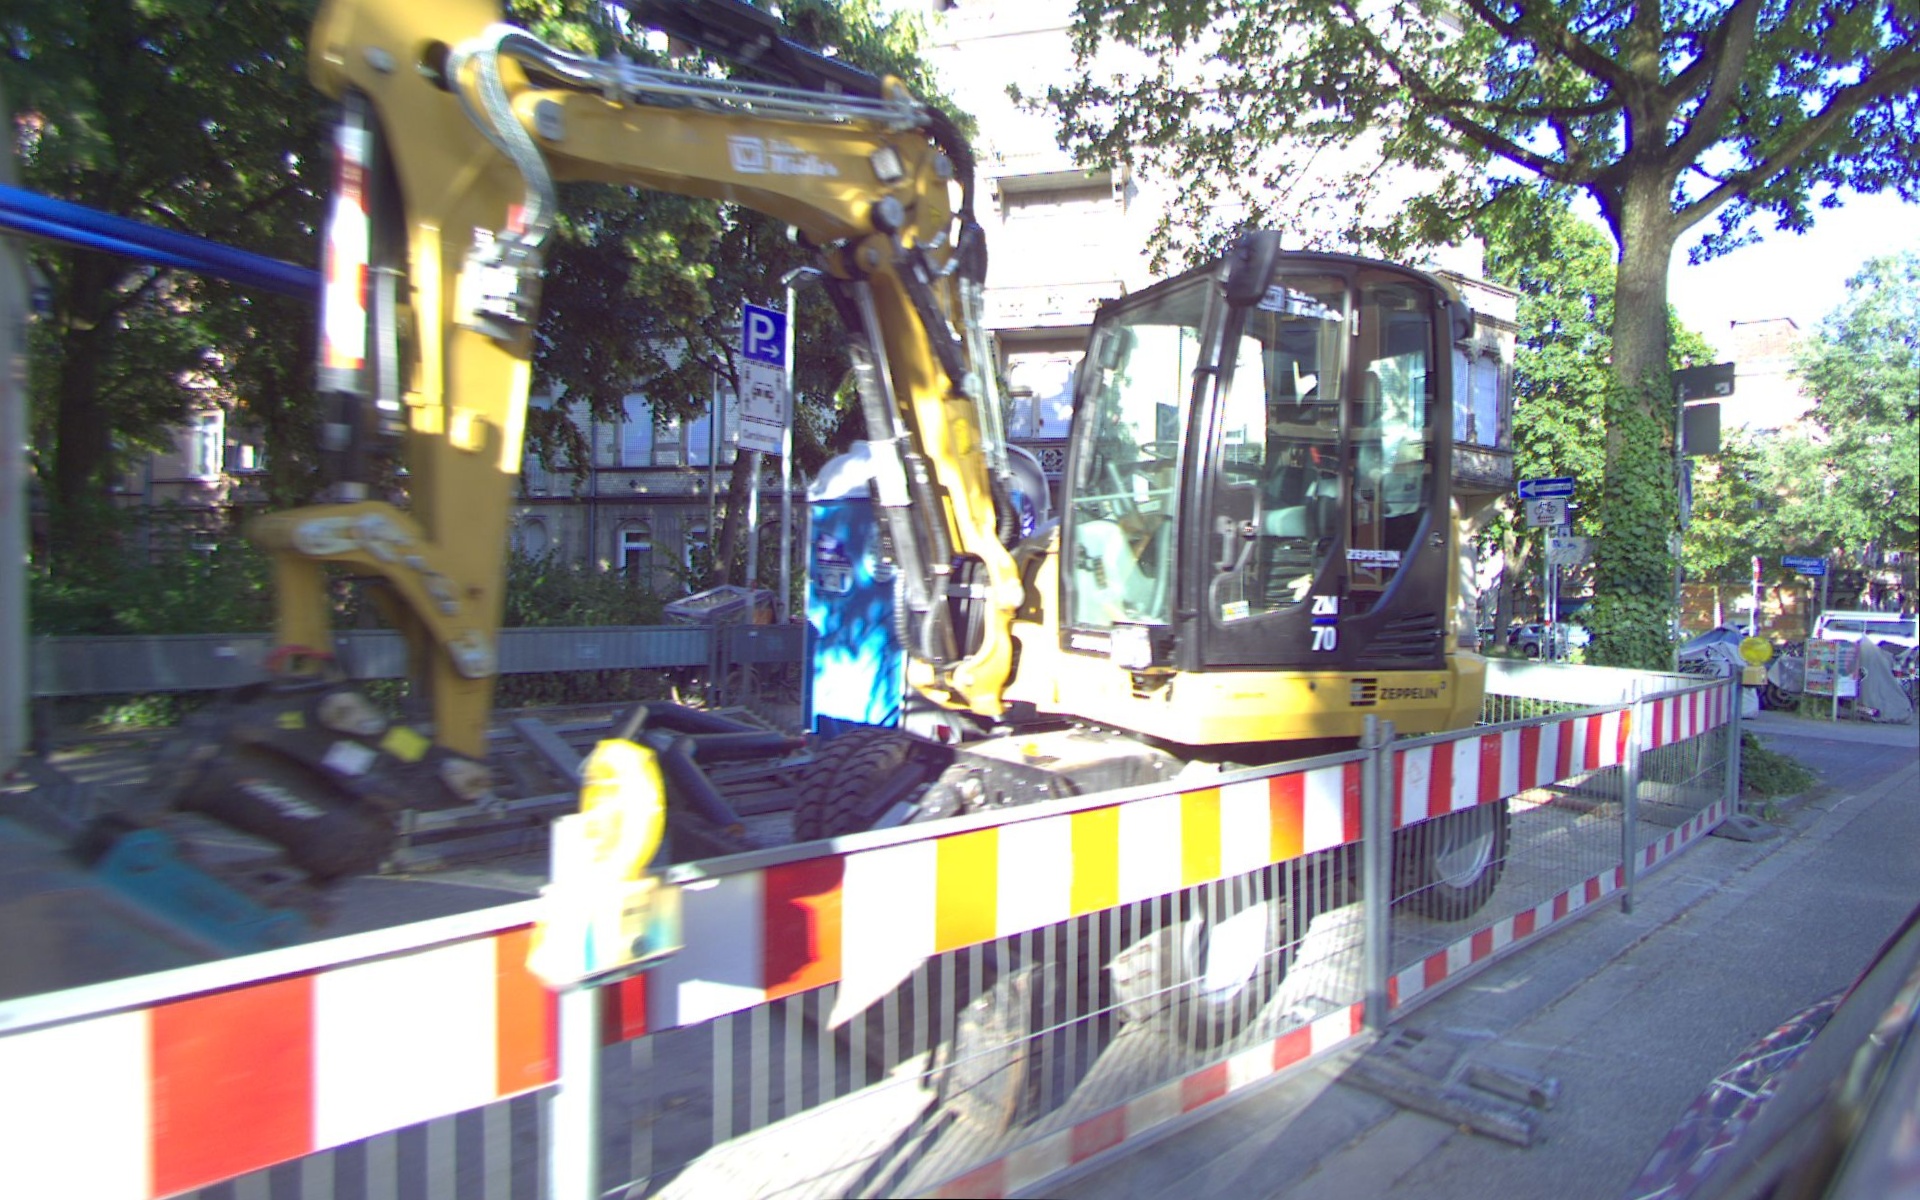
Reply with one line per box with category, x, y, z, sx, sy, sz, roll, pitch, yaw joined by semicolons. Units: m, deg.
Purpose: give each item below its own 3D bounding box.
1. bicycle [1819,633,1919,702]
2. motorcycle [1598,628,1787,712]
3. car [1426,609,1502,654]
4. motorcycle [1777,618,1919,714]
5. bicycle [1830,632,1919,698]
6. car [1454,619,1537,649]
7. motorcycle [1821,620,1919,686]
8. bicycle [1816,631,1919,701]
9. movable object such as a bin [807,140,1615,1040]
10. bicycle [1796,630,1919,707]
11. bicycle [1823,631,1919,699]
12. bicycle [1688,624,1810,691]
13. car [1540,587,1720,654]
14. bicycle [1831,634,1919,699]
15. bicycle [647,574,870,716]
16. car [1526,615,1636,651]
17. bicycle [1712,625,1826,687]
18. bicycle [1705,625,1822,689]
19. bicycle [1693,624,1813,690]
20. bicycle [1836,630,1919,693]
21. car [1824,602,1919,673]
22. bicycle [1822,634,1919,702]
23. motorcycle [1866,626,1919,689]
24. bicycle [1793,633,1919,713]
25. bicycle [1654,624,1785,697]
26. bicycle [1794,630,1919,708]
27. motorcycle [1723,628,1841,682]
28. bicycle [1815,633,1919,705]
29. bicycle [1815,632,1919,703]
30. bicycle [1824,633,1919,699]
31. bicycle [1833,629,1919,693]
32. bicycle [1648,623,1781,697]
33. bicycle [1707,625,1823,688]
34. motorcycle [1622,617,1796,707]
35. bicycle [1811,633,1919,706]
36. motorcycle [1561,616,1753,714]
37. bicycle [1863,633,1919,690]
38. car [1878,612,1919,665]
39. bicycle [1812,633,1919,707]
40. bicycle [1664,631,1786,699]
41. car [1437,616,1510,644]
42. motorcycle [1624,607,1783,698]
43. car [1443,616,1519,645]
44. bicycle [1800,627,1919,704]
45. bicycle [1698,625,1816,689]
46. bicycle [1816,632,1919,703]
bicycle;17.953;1.306;19.649;1.924;1.262;0.298;0;-1;44
motorcycle;11.783;1.076;16.382;0.951;1.195;2.293;1;0;-28
car;19.955;1.209;40.207;1.755;1.631;4.200;1;0;13
motorcycle;14.598;1.033;16.415;0.921;1.430;1.942;1;-1;-13
bicycle;18.917;1.316;20.520;1.924;1.262;0.298;0;-1;44
car;30.011;1.875;56.756;3.973;1.585;1.759;0;-2;35
motorcycle;21.199;1.204;23.265;0.682;1.379;2.027;2;0;-40
bicycle;17.707;1.262;19.426;1.924;1.262;0.298;0;-1;44
movable object such as a bin;1.092;-0.022;4.670;3.046;2.734;2.003;1;-1;-27
bicycle;15.867;1.181;17.684;1.924;1.262;0.298;0;-1;44
bicycle;18.423;1.284;20.115;1.924;1.262;0.298;0;-1;44
bicycle;15.974;1.144;20.527;1.924;1.262;0.472;0;-1;44
car;27.579;0.780;41.810;5.895;2.570;2.342;1;-1;44
bicycle;19.144;1.356;20.750;1.924;1.262;0.298;0;-1;44
bicycle;-2.046;0.437;10.582;1.021;1.301;2.118;2;0;37
car;28.866;1.525;47.120;1.832;1.529;4.058;2;-1;-44
bicycle;17.818;1.210;22.322;1.924;1.262;0.472;0;-1;44
bicycle;17.068;1.183;21.526;1.924;1.262;0.472;0;-1;44
bicycle;16.339;1.157;20.889;1.924;1.262;0.472;0;-1;44
bicycle;19.719;1.285;21.302;1.924;1.262;0.638;0;-1;44
car;30.116;1.174;31.246;2.068;2.122;4.983;2;-1;-40
bicycle;18.209;1.319;19.875;1.924;1.262;0.298;0;-1;44
motorcycle;21.063;1.280;21.924;0.888;1.301;2.027;2;1;-42
bicycle;15.431;1.230;17.222;1.924;1.262;0.298;0;-1;44
bicycle;14.140;1.093;18.881;1.924;1.262;0.472;0;-1;44
bicycle;15.645;1.173;17.451;1.924;1.262;0.298;0;-1;44
motorcycle;19.452;1.276;23.981;0.888;1.122;2.026;2;0;-42
bicycle;17.077;1.266;18.731;1.906;1.262;0.298;0;-1;44
bicycle;17.315;1.260;19.003;1.924;1.262;0.298;0;-1;44
bicycle;18.648;1.321;20.358;1.924;1.262;0.298;0;-1;44
bicycle;19.366;1.257;20.960;1.924;1.262;0.298;0;-1;44
bicycle;13.792;1.066;18.540;1.924;1.262;0.445;0;-1;44
bicycle;17.411;1.195;21.920;1.924;1.262;0.472;0;-1;44
motorcycle;12.458;0.990;16.935;0.643;1.358;2.293;1;-1;-29
bicycle;16.839;1.264;18.511;1.924;1.262;0.298;0;-1;44
motorcycle;10.697;0.949;15.589;2.361;1.358;0.927;0;-1;40
bicycle;20.495;1.337;21.547;0.436;1.141;1.821;2;1;-41
car;39.428;1.581;39.918;1.966;2.039;4.621;2;-1;-42
bicycle;16.620;1.248;18.249;1.924;1.262;0.298;0;-1;44
bicycle;15.416;1.280;20.433;1.924;1.262;0.472;0;-1;44
car;33.319;1.939;65.749;3.978;1.743;1.757;0;-2;38
motorcycle;13.608;0.920;18.571;2.283;1.551;0.744;0;-1;44
car;32.465;1.899;63.114;3.978;1.743;1.757;0;-2;38
bicycle;16.111;1.141;17.903;1.924;1.262;0.298;0;-1;44
bicycle;16.681;1.169;21.224;1.924;1.262;0.389;0;-1;44
bicycle;17.482;1.263;19.165;1.924;1.262;0.298;0;-1;44
